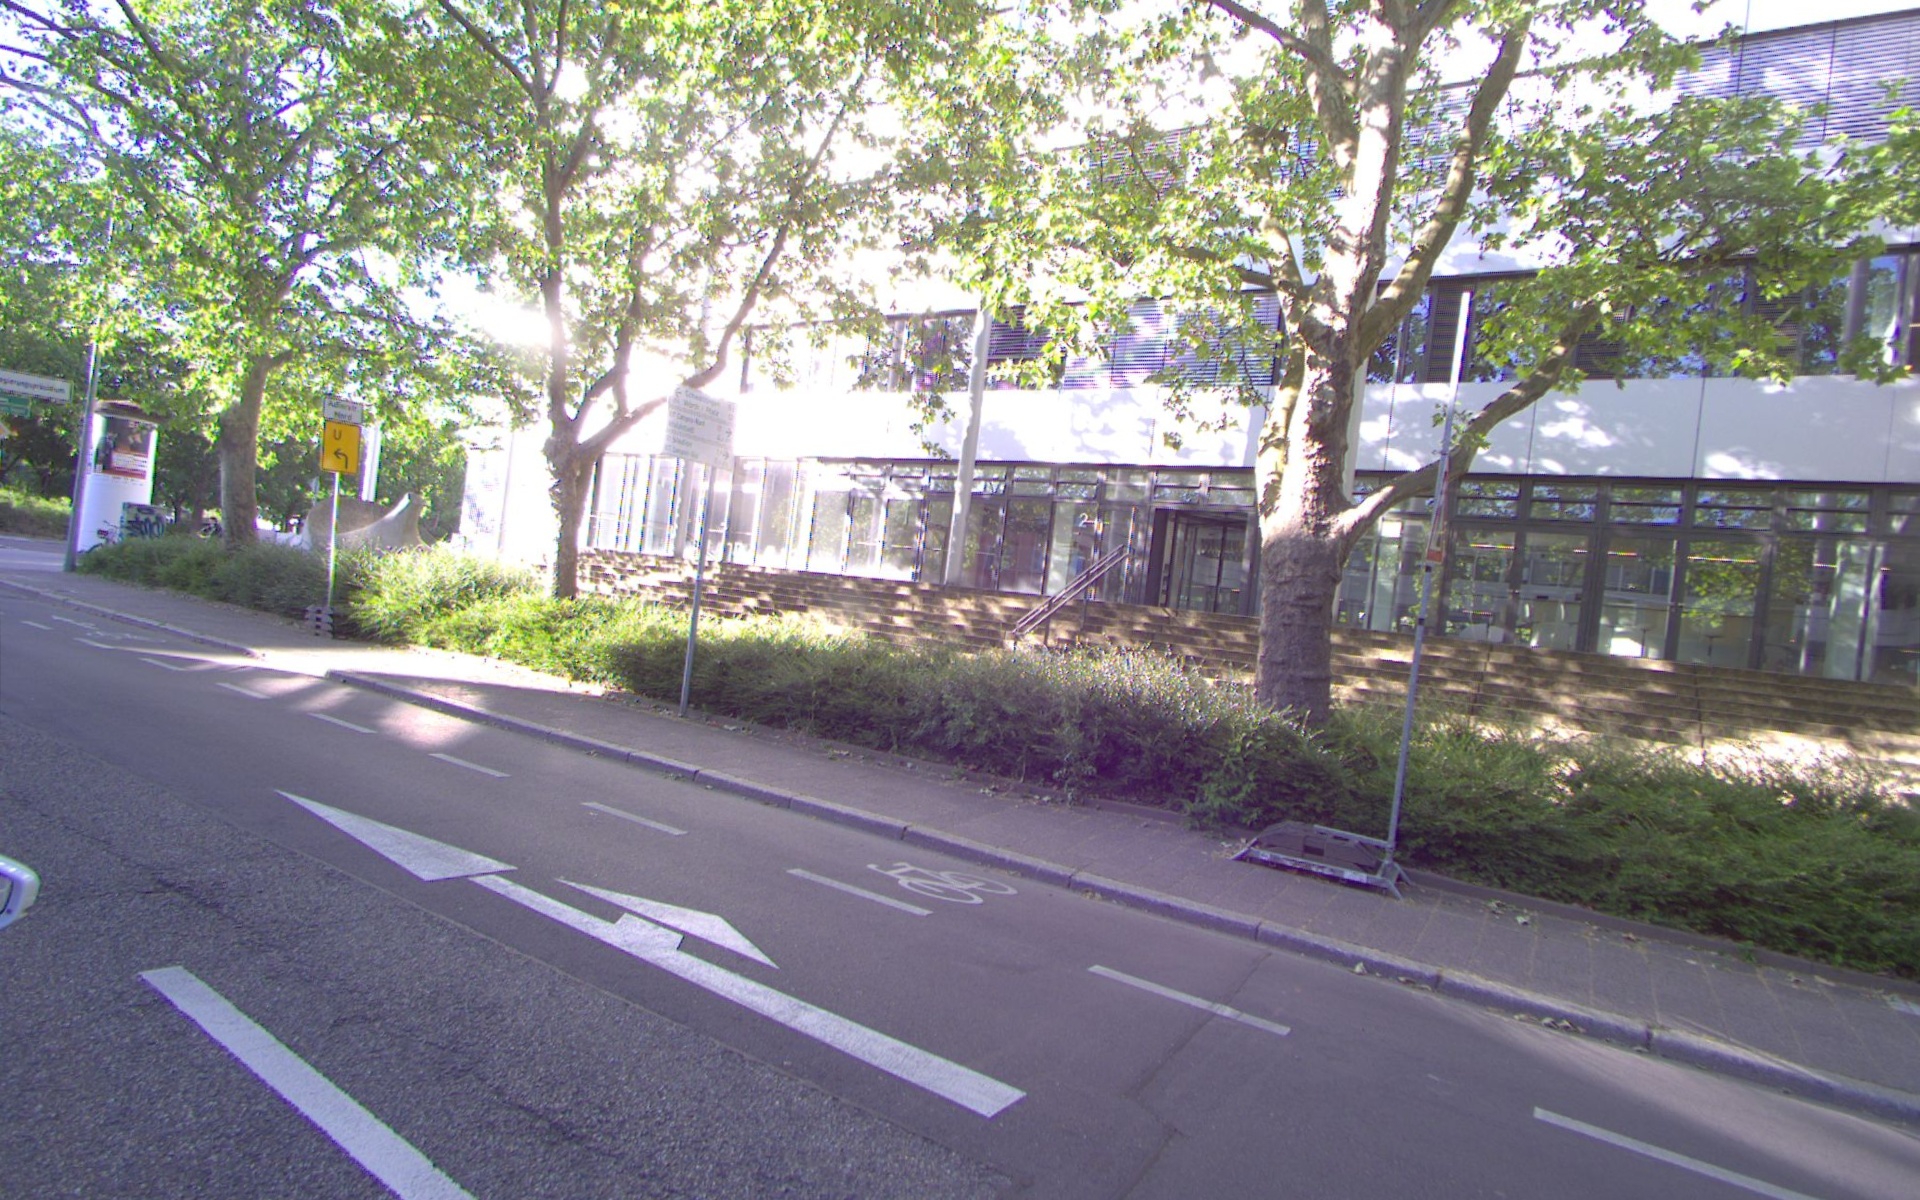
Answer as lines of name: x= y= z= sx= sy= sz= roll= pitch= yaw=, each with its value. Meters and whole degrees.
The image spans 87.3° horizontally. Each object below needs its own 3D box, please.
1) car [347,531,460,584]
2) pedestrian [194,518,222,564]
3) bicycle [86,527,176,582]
car: x=-25.751 y=-1.960 z=46.681 sx=1.969 sy=1.805 sz=3.998 roll=7 pitch=-1 yaw=37
pedestrian: x=-31.252 y=-2.436 z=41.814 sx=0.620 sy=1.805 sz=0.620 roll=7 pitch=0 yaw=34
bicycle: x=-18.927 y=-1.021 z=22.998 sx=0.529 sy=1.049 sz=1.418 roll=7 pitch=-1 yaw=28
